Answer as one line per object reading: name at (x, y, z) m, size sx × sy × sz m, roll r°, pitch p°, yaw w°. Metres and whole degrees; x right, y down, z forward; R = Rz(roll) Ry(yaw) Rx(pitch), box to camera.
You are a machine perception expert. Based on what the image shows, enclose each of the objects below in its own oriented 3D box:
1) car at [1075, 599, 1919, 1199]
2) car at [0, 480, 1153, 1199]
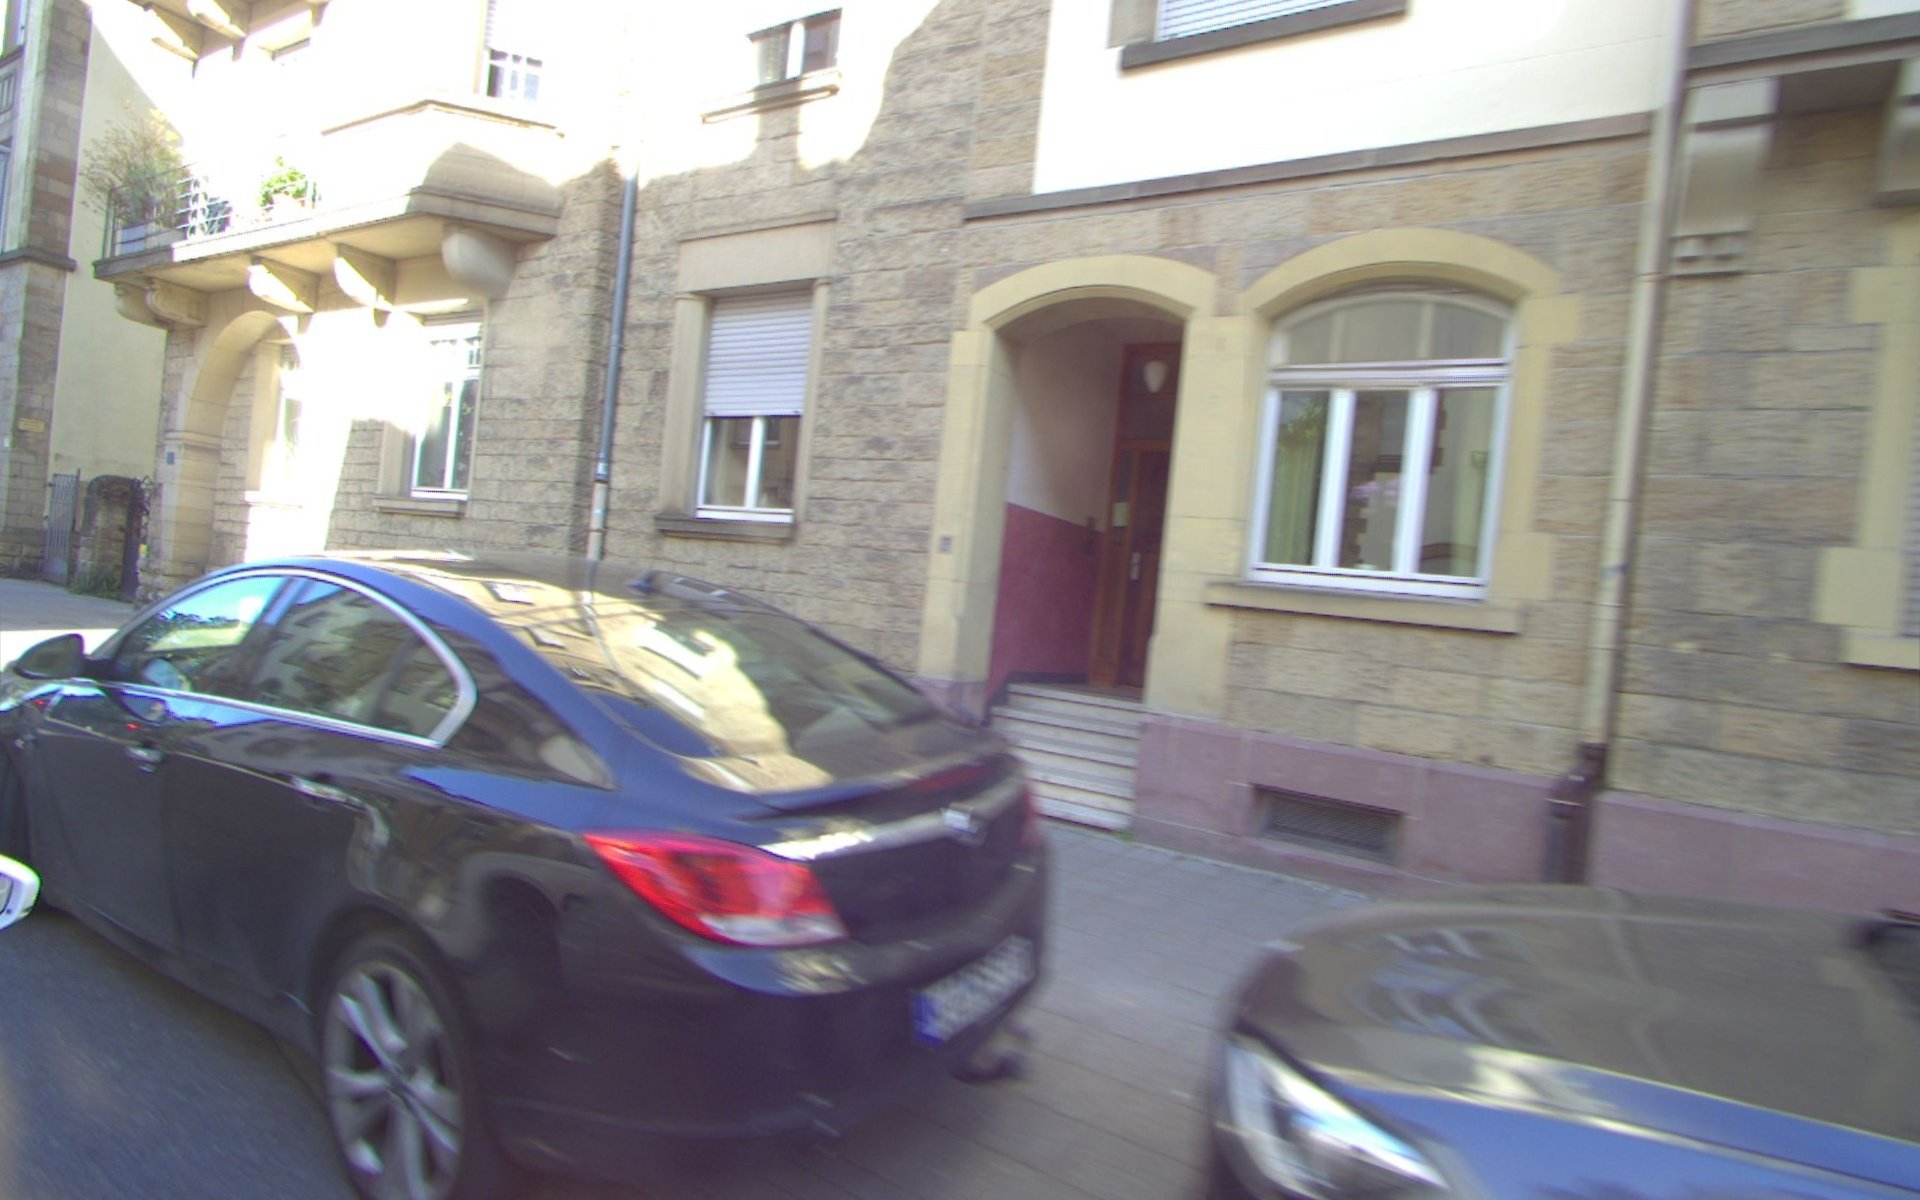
car at (2.427, 0.973, 1.354) m, size 4.187 × 1.460 × 1.653 m, roll 7°, pitch 1°, yaw 31°
car at (-1.740, 0.521, 3.561) m, size 4.267 × 1.480 × 1.868 m, roll 7°, pitch 0°, yaw 32°
